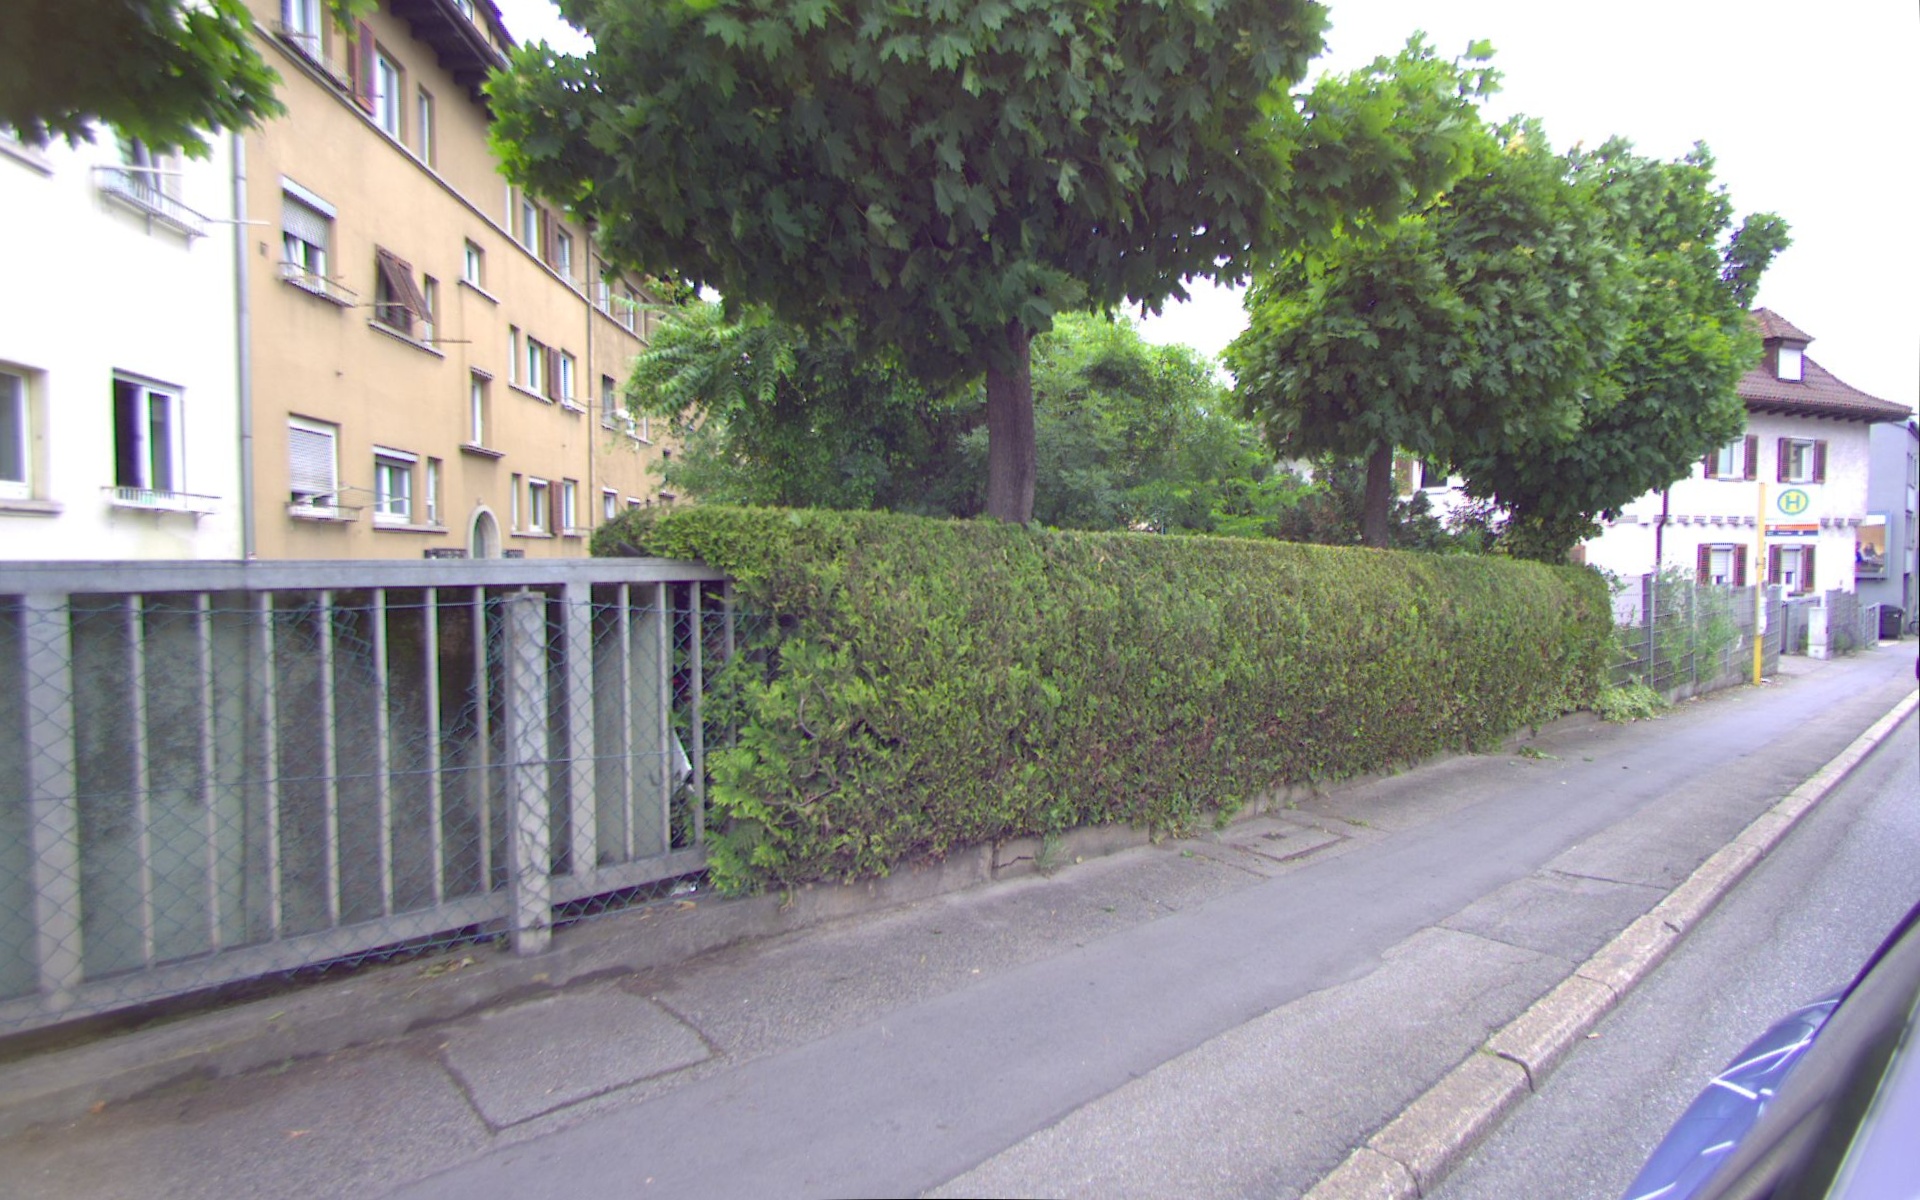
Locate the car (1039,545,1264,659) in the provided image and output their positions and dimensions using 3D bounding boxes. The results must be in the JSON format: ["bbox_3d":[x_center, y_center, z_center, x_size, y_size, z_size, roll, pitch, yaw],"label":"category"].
[{"bbox_3d":[3.618,0.027,19.700,3.923,2.039,2.001,1,1,-1],"label":"car"}]
